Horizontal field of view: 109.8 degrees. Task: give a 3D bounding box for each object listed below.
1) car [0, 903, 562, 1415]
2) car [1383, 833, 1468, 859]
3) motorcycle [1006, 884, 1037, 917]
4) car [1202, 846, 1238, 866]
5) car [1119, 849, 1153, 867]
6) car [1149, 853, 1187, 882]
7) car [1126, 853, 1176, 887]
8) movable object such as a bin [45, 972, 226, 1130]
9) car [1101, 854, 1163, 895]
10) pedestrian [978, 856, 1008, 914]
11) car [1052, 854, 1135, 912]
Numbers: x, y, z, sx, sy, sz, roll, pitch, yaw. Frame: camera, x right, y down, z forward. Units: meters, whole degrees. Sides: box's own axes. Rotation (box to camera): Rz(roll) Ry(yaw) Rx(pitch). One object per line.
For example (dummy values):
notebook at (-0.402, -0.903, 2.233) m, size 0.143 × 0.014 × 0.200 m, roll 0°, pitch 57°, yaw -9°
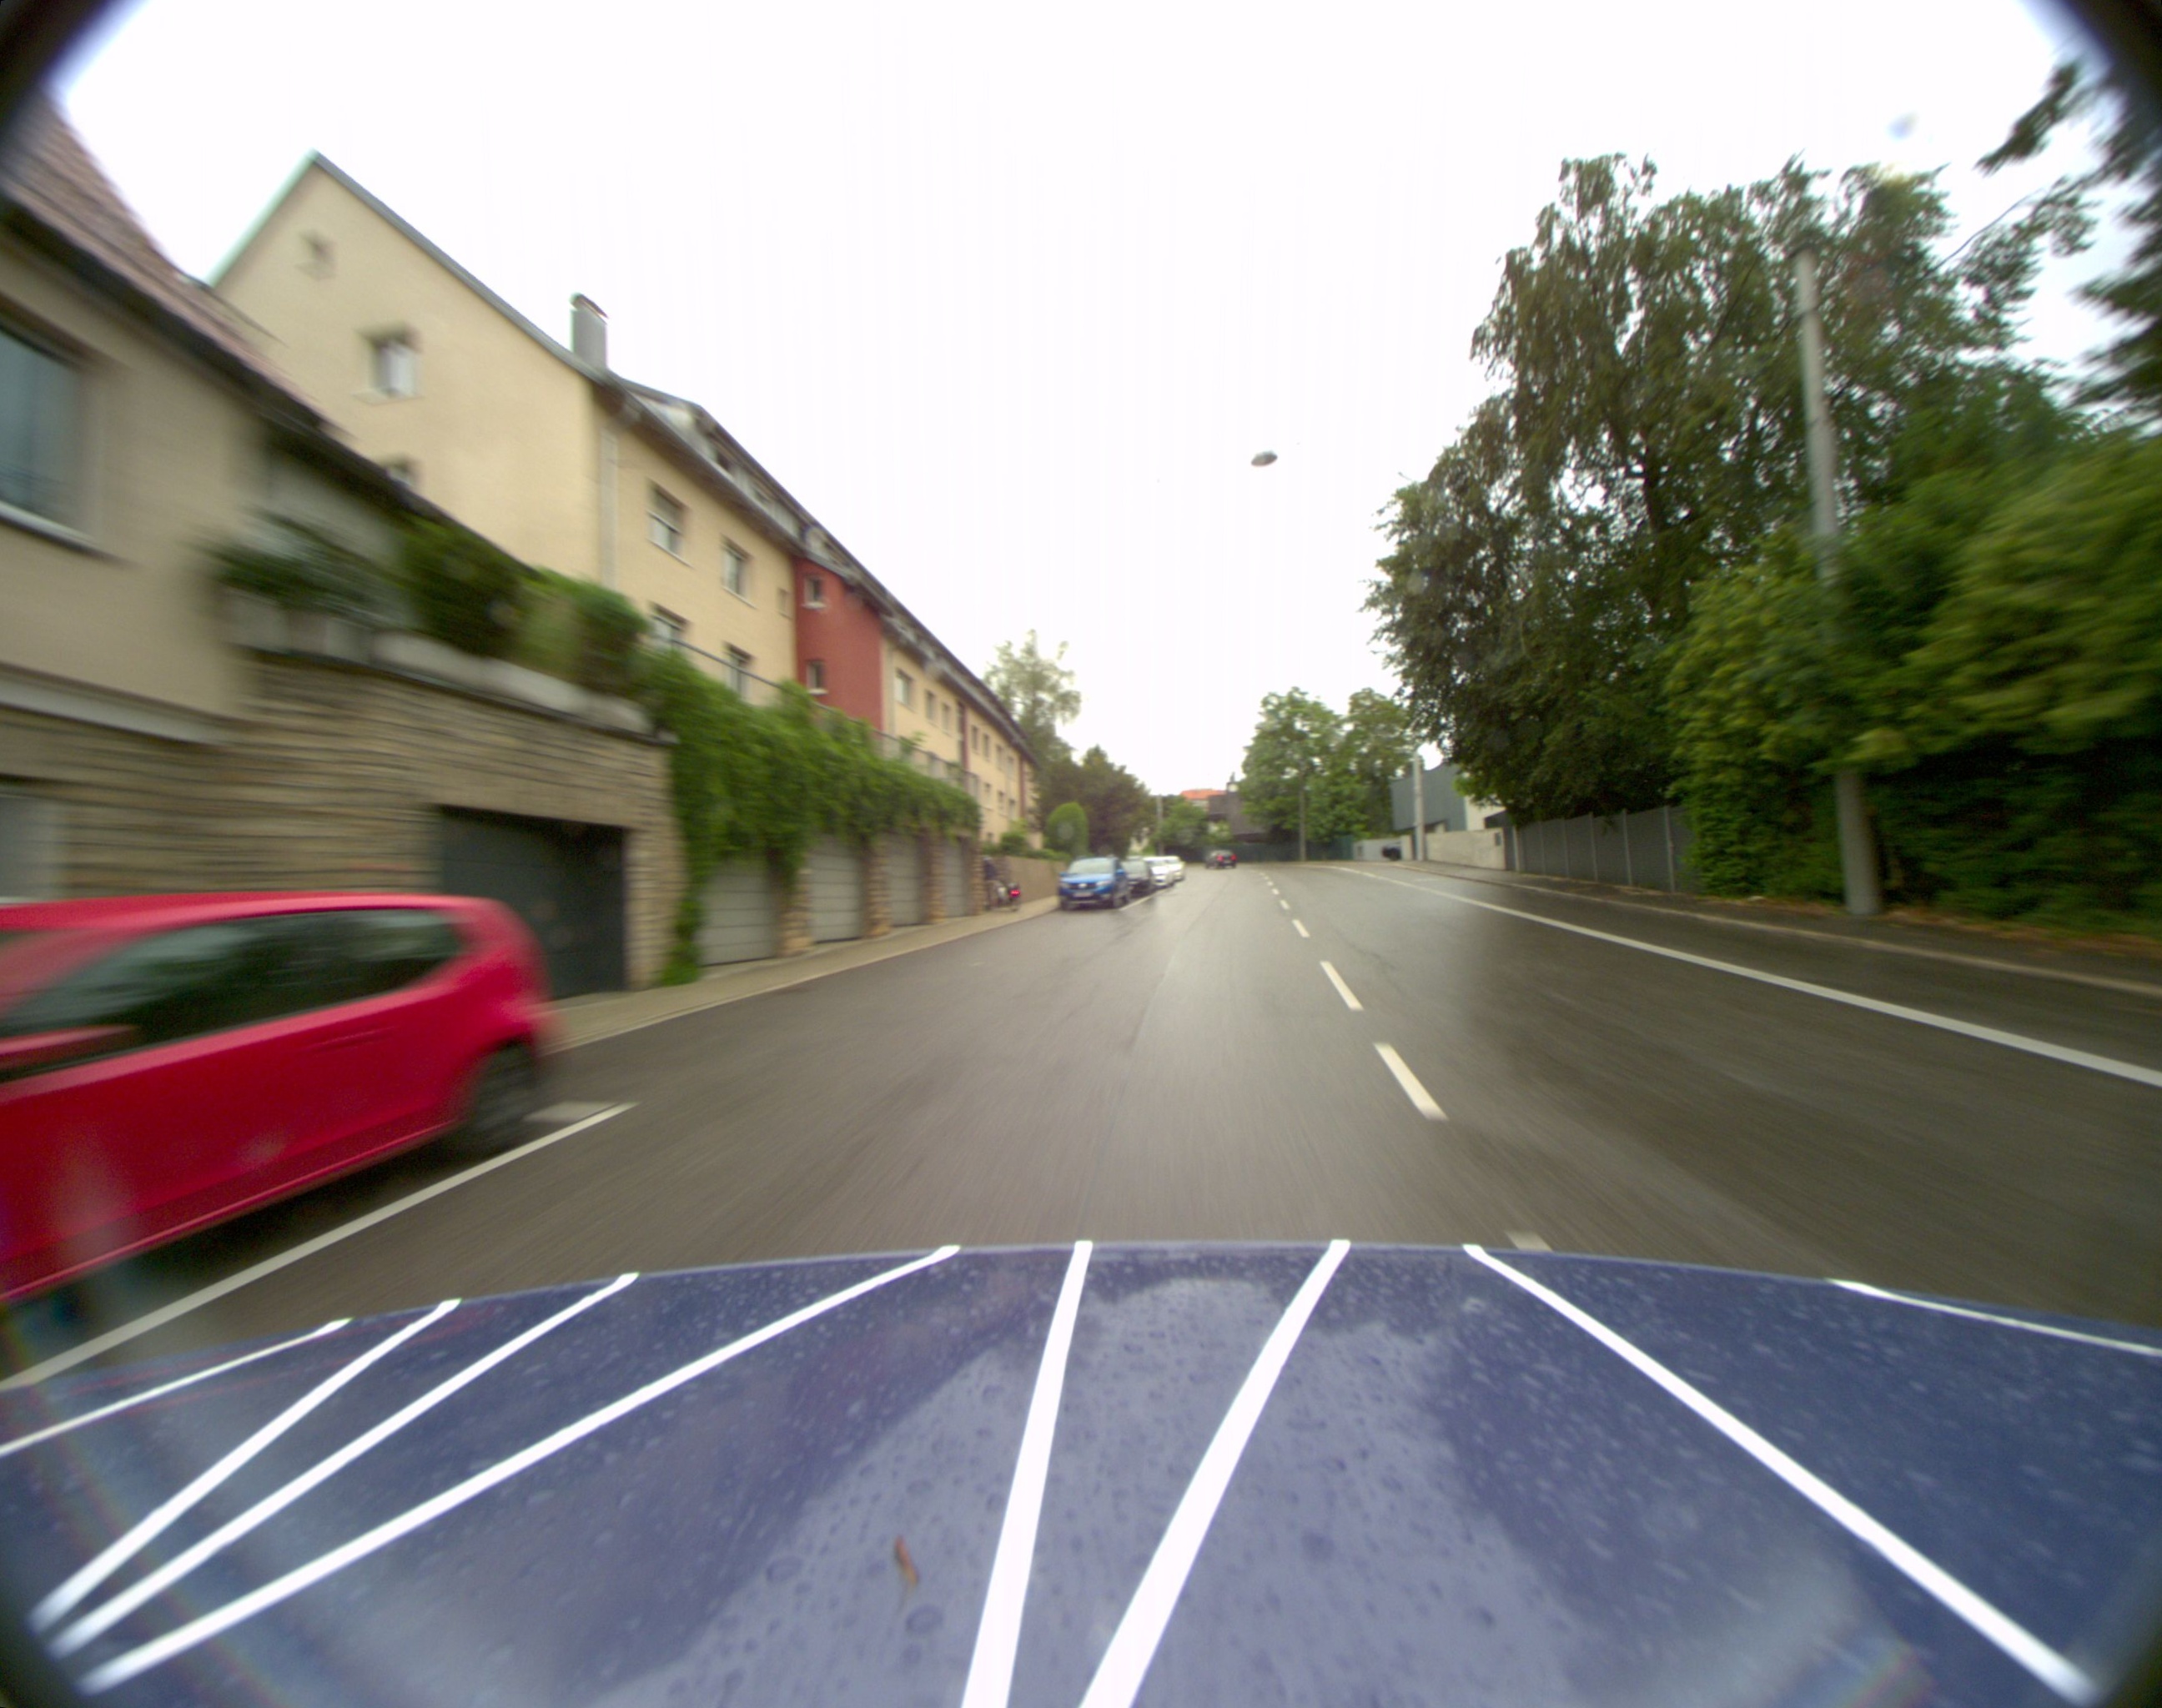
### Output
car at (-4.102, 1.023, 2.844) m, size 1.618 × 1.427 × 3.582 m, roll -1°, pitch 0°, yaw 5°
car at (20.008, -0.468, 44.232) m, size 1.901 × 1.293 × 3.990 m, roll -3°, pitch 0°, yaw -43°
motorcycle at (-1.701, 1.305, 21.553) m, size 0.537 × 0.851 × 1.378 m, roll -4°, pitch 0°, yaw -18°
car at (11.314, 0.143, 62.029) m, size 1.654 × 1.412 × 3.799 m, roll -6°, pitch 1°, yaw -9°
car at (4.578, 0.390, 64.036) m, size 1.688 × 1.462 × 3.734 m, roll 1°, pitch -1°, yaw -16°
car at (5.069, 0.750, 43.734) m, size 1.782 × 1.427 × 4.572 m, roll -5°, pitch -1°, yaw 11°
car at (3.374, 0.716, 35.989) m, size 1.810 × 1.447 × 4.258 m, roll -3°, pitch 0°, yaw 12°
movable object such as a bin at (-6.387, 1.306, 5.154) m, size 0.597 × 0.918 × 0.514 m, roll 1°, pitch -1°, yaw 7°
car at (2.106, 0.771, 30.175) m, size 1.692 × 1.447 × 4.258 m, roll -3°, pitch 0°, yaw 13°
pedestrian at (-2.565, 0.891, 22.147) m, size 0.622 × 1.641 × 0.614 m, roll -4°, pitch 1°, yaw -18°
car at (0.508, 0.833, 23.907) m, size 1.736 × 1.584 × 4.258 m, roll -3°, pitch 0°, yaw 12°
